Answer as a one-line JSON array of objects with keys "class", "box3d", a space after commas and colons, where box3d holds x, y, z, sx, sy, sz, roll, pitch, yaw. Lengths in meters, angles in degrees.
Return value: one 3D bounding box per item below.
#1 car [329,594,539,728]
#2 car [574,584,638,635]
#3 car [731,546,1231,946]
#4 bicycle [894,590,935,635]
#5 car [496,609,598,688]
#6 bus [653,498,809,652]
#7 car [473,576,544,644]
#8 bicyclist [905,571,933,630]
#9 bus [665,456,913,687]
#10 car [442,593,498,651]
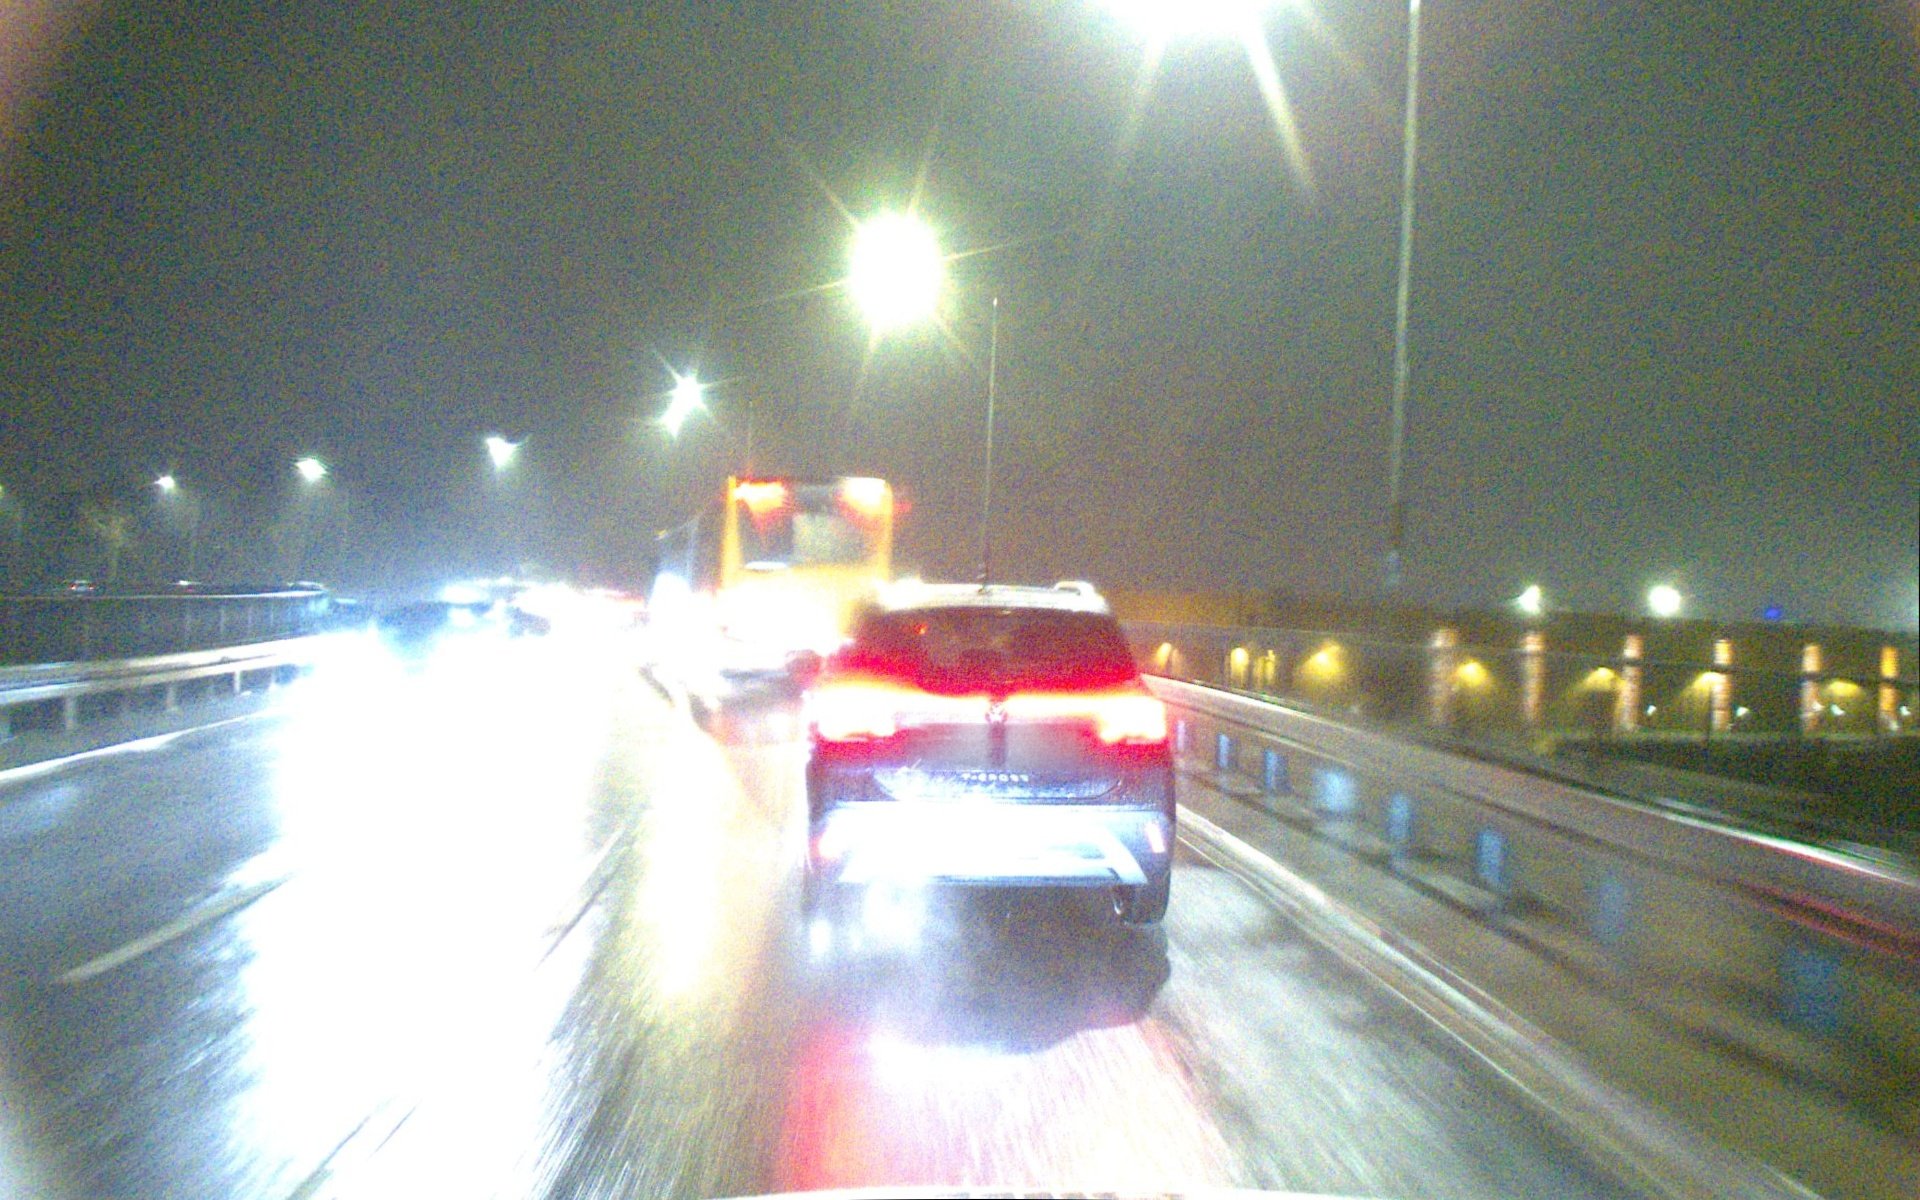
[{"class": "car", "box3d": [-6.266, 0.671, 20.167, 1.651, 1.415, 4.443, 2, 0, -8]}, {"class": "car", "box3d": [-12.542, 0.351, 58.465, 1.613, 1.684, 3.686, -2, 0, -21]}, {"class": "car", "box3d": [-0.153, 0.617, 8.822, 1.823, 1.614, 3.988, 2, 0, -12]}, {"class": "bicycle", "box3d": [-1.097, 0.293, 39.457, 0.476, 1.052, 2.162, 1, 0, -16]}, {"class": "car", "box3d": [-8.427, 0.947, 34.011, 1.782, 1.428, 4.038, 0, 1, -11]}, {"class": "bus", "box3d": [-5.640, -0.607, 39.503, 2.995, 3.186, 8.054, 2, 1, -12]}, {"class": "car", "box3d": [-13.580, 0.256, 49.633, 1.728, 1.893, 3.977, -2, 1, -20]}, {"class": "bicyclist", "box3d": [-0.965, 0.007, 39.021, 0.445, 1.373, 0.761, 2, 0, -16]}, {"class": "bus", "box3d": [-3.473, -0.461, 29.356, 3.029, 3.187, 12.658, 0, 1, -12]}, {"class": "car", "box3d": [-18.046, 0.784, 60.801, 1.643, 2.049, 3.974, 0, 0, -21]}]
